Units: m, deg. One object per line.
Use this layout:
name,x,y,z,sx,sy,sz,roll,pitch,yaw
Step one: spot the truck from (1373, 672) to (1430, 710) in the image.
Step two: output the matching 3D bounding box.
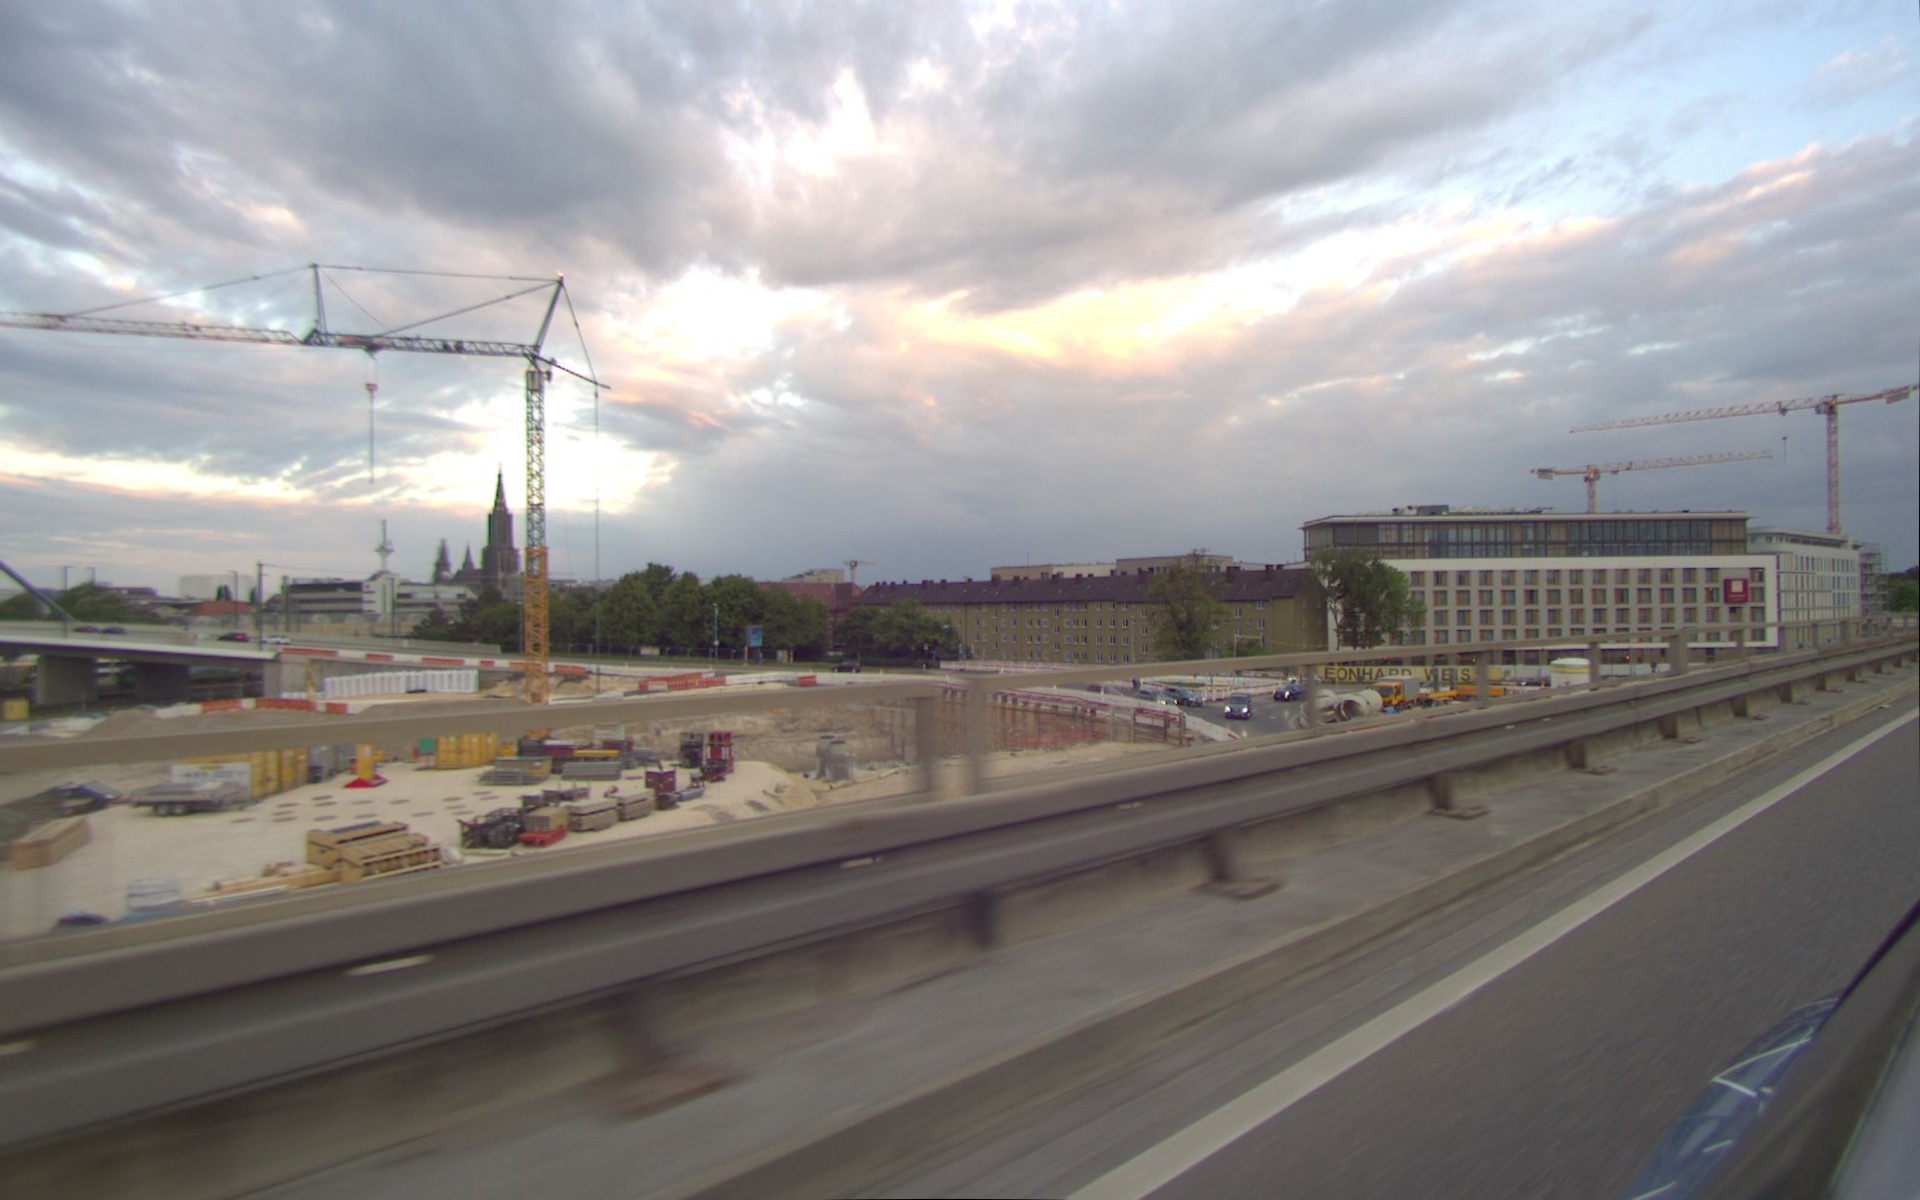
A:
truck,39.856,8.138,91.233,7.216,2.987,2.157,1,-4,-45

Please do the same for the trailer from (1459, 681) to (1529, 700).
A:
trailer,51.371,8.672,97.393,5.828,1.365,2.004,0,0,33

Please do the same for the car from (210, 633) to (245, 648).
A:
car,-107.163,5.978,148.101,3.939,2.040,1.991,1,-3,13

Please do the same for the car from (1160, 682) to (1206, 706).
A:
car,20.559,8.673,93.375,1.768,1.741,4.106,-3,1,-29

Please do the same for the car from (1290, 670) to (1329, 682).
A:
car,40.485,8.820,117.300,3.938,1.461,1.904,-1,-5,12

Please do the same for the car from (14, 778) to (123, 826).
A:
car,-46.301,10.499,52.659,3.917,1.948,1.687,-3,-5,-13

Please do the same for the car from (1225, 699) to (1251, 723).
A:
car,23.492,9.350,85.506,1.972,1.903,5.062,-2,-6,16

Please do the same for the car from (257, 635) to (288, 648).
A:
car,-102.192,6.189,150.432,3.649,1.762,1.588,1,-4,13

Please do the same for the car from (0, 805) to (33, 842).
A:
car,-44.463,10.218,45.558,3.718,1.461,1.530,-3,-5,-14

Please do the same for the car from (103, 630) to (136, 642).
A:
car,-131.269,5.648,158.037,3.939,1.762,1.769,1,-4,13

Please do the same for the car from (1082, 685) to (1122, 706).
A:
car,13.354,8.989,95.596,1.618,1.639,3.766,0,0,-35

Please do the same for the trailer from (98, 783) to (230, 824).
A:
trailer,-34.632,8.844,44.145,4.163,1.257,1.787,-1,-2,-14

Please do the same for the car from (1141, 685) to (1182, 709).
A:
car,17.774,8.555,89.472,1.611,1.761,3.799,-1,-1,-26

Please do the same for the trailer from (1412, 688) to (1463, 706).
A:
trailer,45.301,9.154,95.977,5.767,1.366,1.996,1,-7,-40
